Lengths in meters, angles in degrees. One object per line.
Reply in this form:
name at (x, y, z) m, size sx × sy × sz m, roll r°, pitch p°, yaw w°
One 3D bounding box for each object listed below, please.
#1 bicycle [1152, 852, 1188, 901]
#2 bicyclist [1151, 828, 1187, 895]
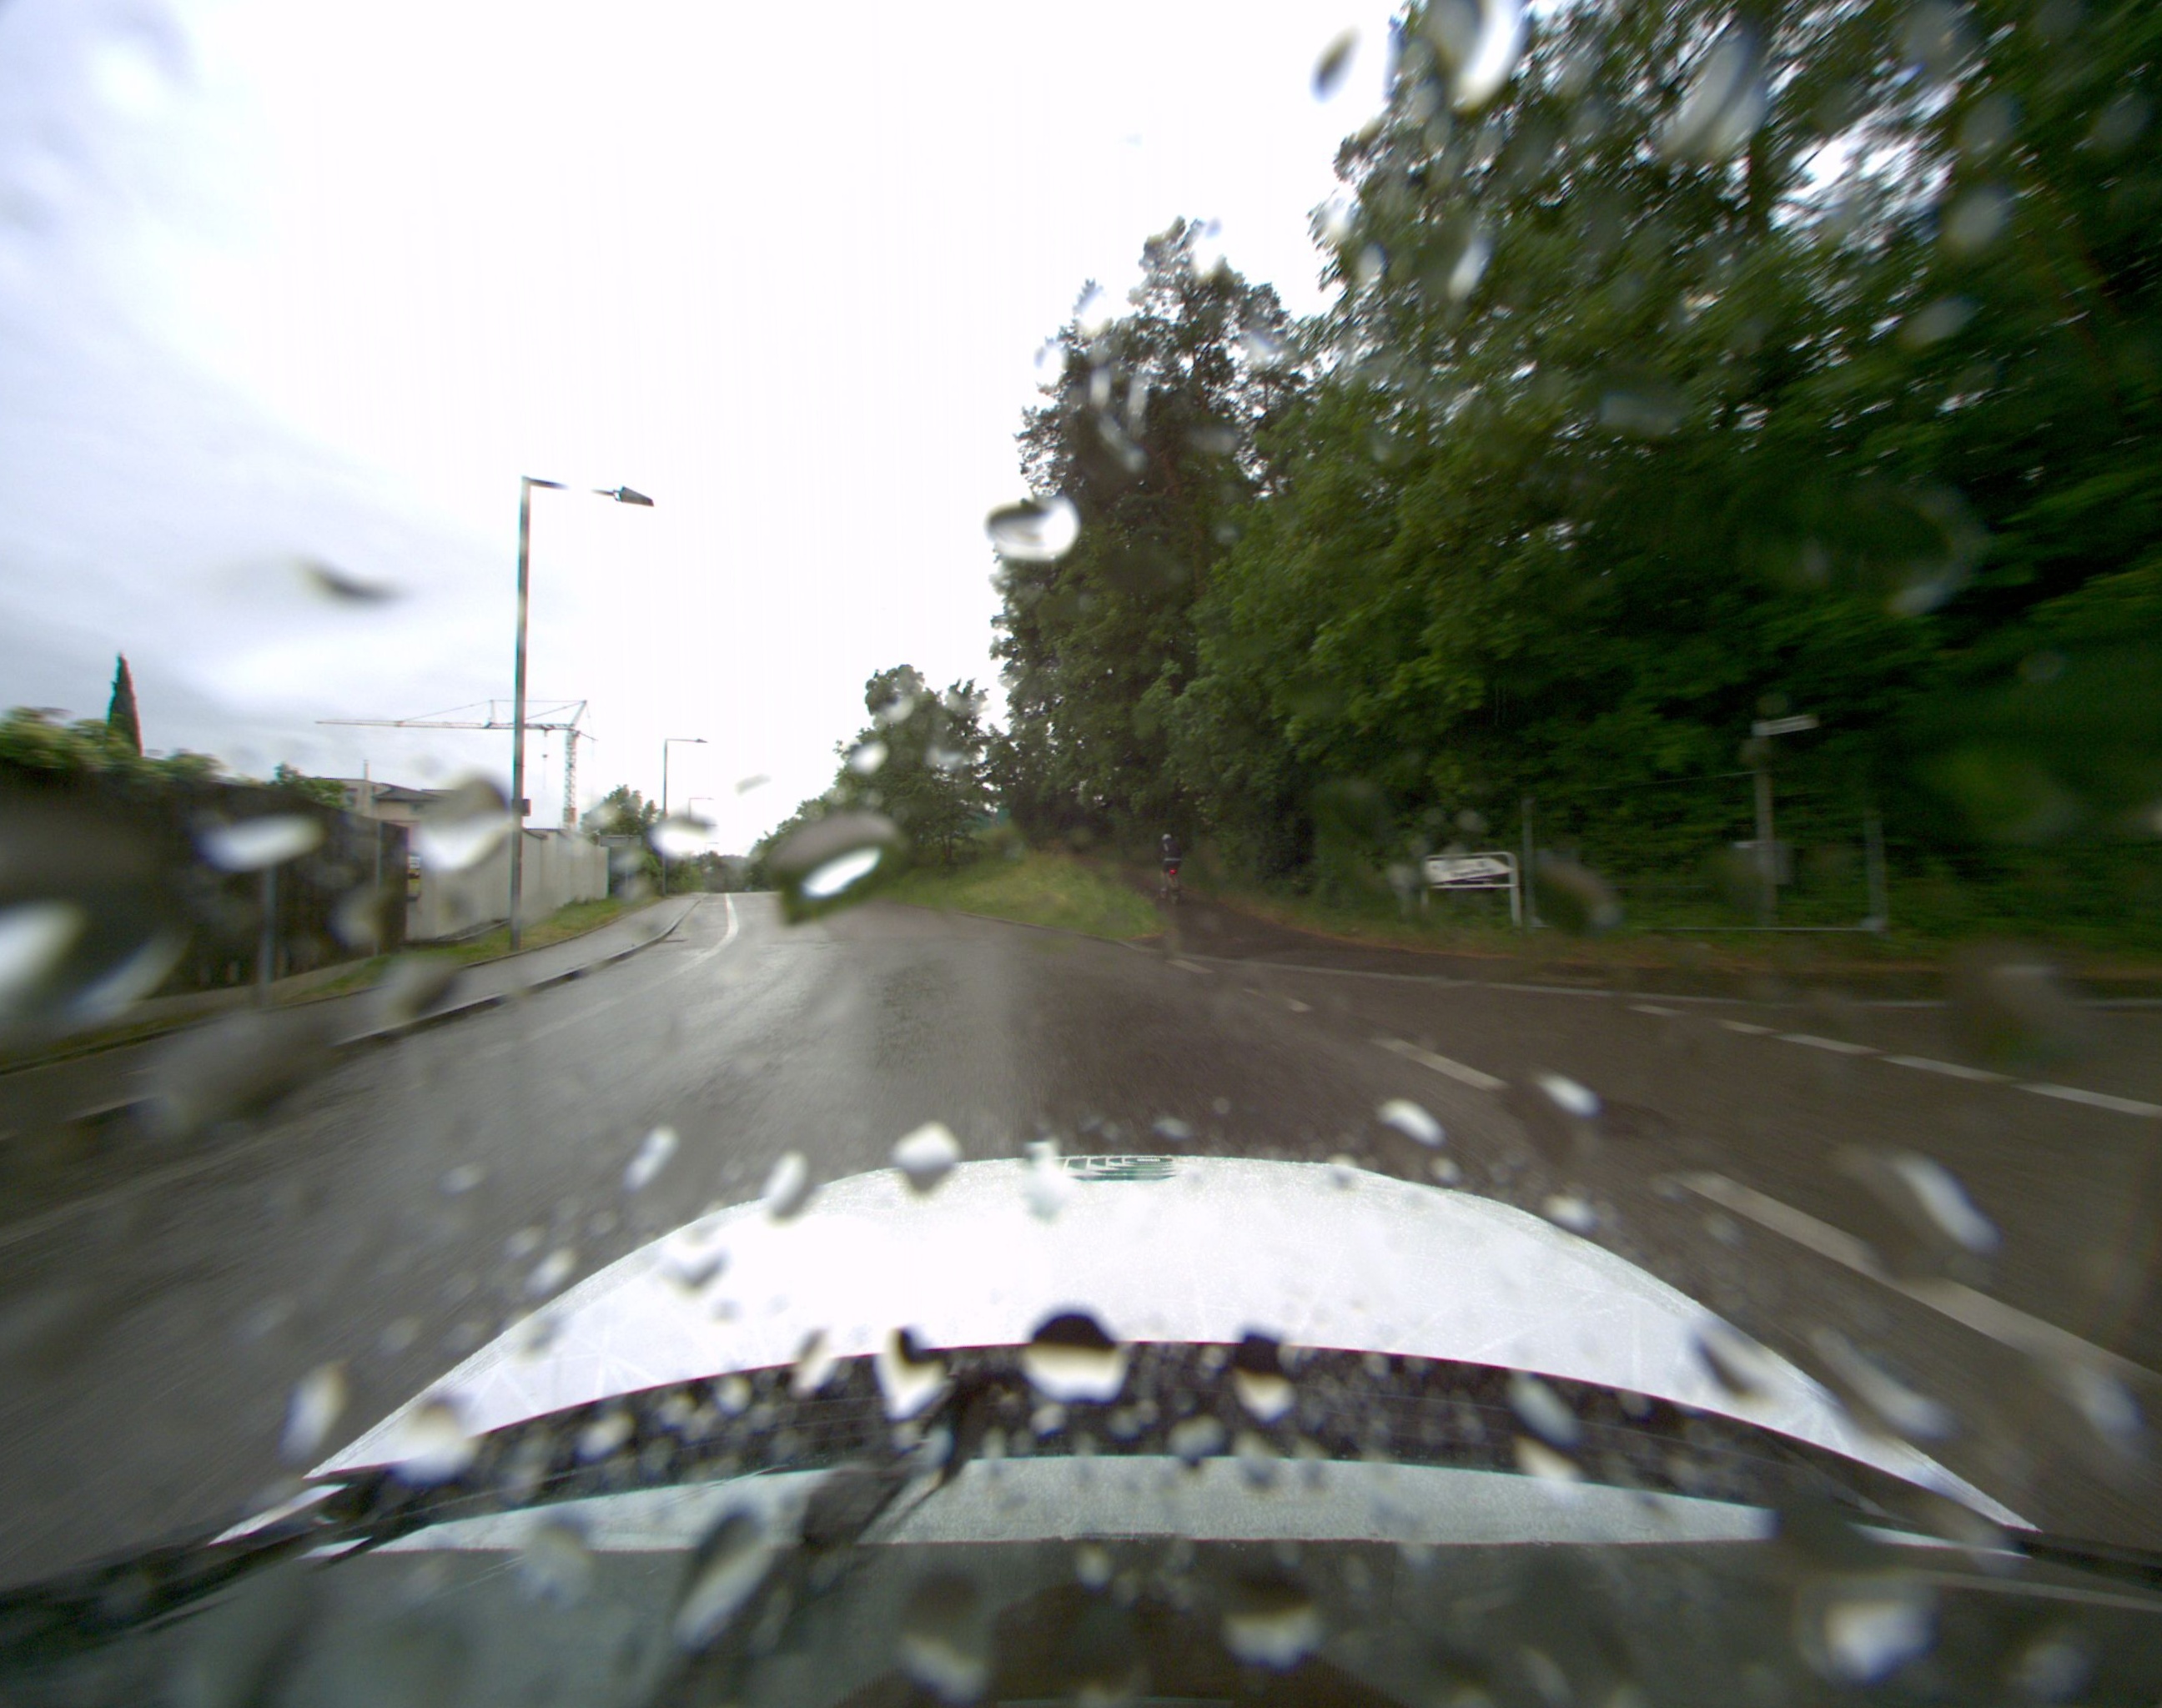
bicycle at (2.224, 0.546, 20.570) m, size 0.527 × 1.084 × 1.617 m, roll -1°, pitch 4°, yaw -8°
bicyclist at (2.214, 0.166, 20.629) m, size 0.720 × 1.614 × 0.903 m, roll 0°, pitch 4°, yaw -8°
